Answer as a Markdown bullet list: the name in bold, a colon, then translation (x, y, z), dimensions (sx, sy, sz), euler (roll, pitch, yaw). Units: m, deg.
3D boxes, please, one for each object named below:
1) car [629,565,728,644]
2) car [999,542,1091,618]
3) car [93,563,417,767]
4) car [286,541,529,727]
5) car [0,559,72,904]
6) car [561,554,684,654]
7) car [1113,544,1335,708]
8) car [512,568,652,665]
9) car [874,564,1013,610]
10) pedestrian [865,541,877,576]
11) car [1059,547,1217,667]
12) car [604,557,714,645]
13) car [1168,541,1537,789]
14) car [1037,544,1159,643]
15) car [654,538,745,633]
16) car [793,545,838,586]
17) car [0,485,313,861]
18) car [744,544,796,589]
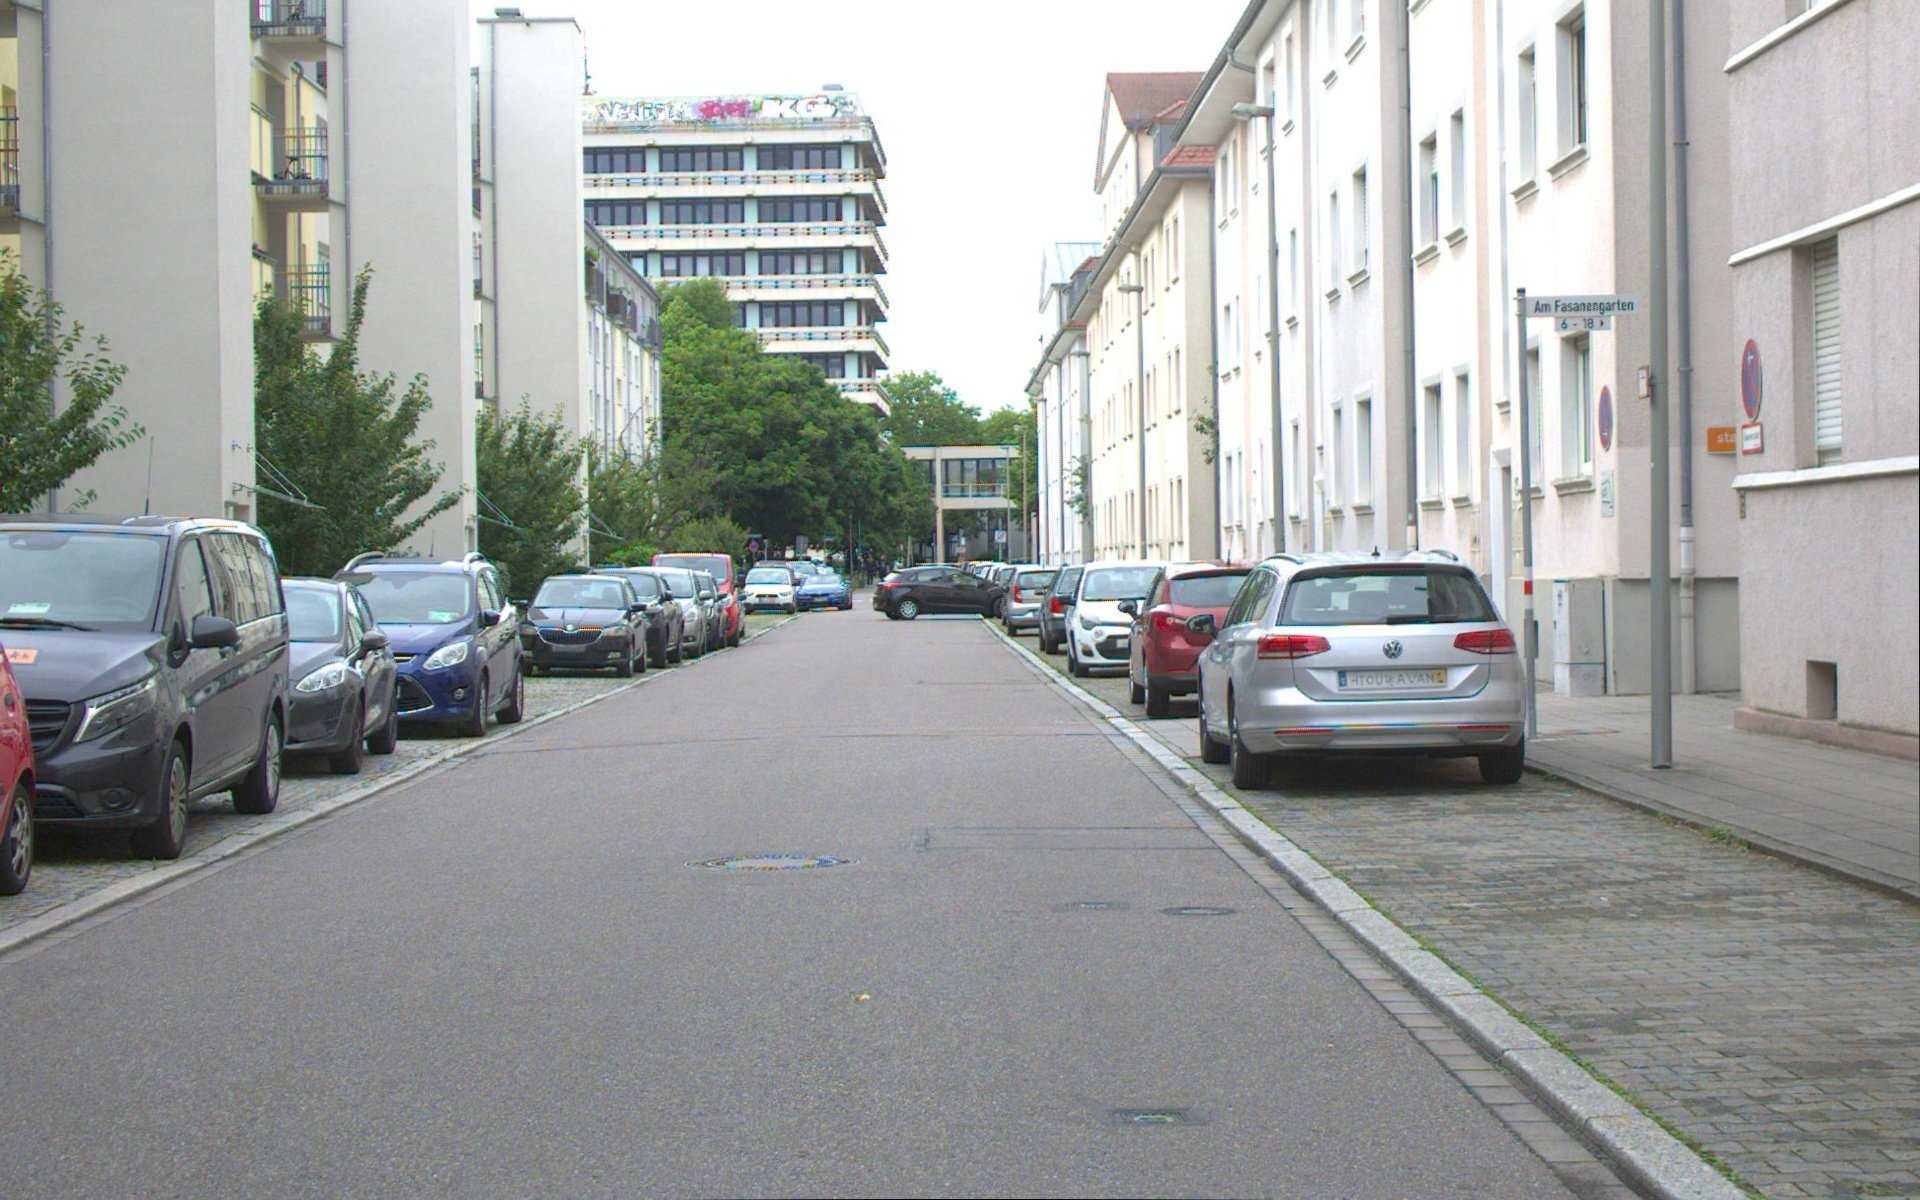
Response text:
- **car**: translation (-5.486, 0.076, 67.360), dimensions (1.671, 1.482, 3.742), euler (0, 1, -1)
- **car**: translation (1.798, -0.444, 73.834), dimensions (1.819, 1.571, 3.884), euler (0, 1, -1)
- **car**: translation (-5.431, 0.447, 26.968), dimensions (1.830, 1.454, 4.260), euler (0, 1, -2)
- **car**: translation (-5.160, 0.267, 32.584), dimensions (1.769, 1.637, 4.355), euler (0, 1, -2)
- **car**: translation (-5.138, 0.592, 15.110), dimensions (1.563, 1.563, 3.642), euler (2, 1, -1)
- **car**: translation (-5.465, 0.035, 55.981), dimensions (1.671, 1.558, 3.664), euler (0, 1, -1)
- **car**: translation (2.482, 0.207, 33.100), dimensions (1.670, 1.415, 4.000), euler (-2, 1, -2)
- **car**: translation (-5.501, 0.214, 50.362), dimensions (1.671, 1.347, 3.816), euler (0, 1, -1)
- **car**: translation (-0.432, -0.364, 92.976), dimensions (3.729, 1.210, 1.544), euler (0, 1, 1)
- **pedestrian**: translation (-5.114, -2.402, 197.765), dimensions (0.629, 2.007, 0.683), euler (2, 1, -1)
- **car**: translation (2.279, 0.063, 44.859), dimensions (1.819, 1.499, 3.752), euler (0, 1, -1)
- **car**: translation (-5.411, -0.008, 62.207), dimensions (1.671, 1.520, 4.253), euler (0, 1, -1)
- **car**: translation (2.464, 0.353, 22.669), dimensions (1.755, 1.462, 4.601), euler (0, 1, -2)
- **car**: translation (2.241, -0.136, 56.814), dimensions (1.819, 1.571, 3.752), euler (0, 1, -1)
- **car**: translation (-5.465, -0.324, 72.462), dimensions (1.671, 1.931, 3.742), euler (0, 1, -1)
- **car**: translation (-5.219, -1.250, 123.995), dimensions (1.539, 1.445, 3.742), euler (0, 1, -3)
- **car**: translation (-5.123, 0.318, 20.117), dimensions (1.879, 1.897, 5.031), euler (2, 1, -3)
- **car**: translation (-6.243, -1.112, 113.309), dimensions (1.539, 1.445, 3.742), euler (0, 1, -1)
